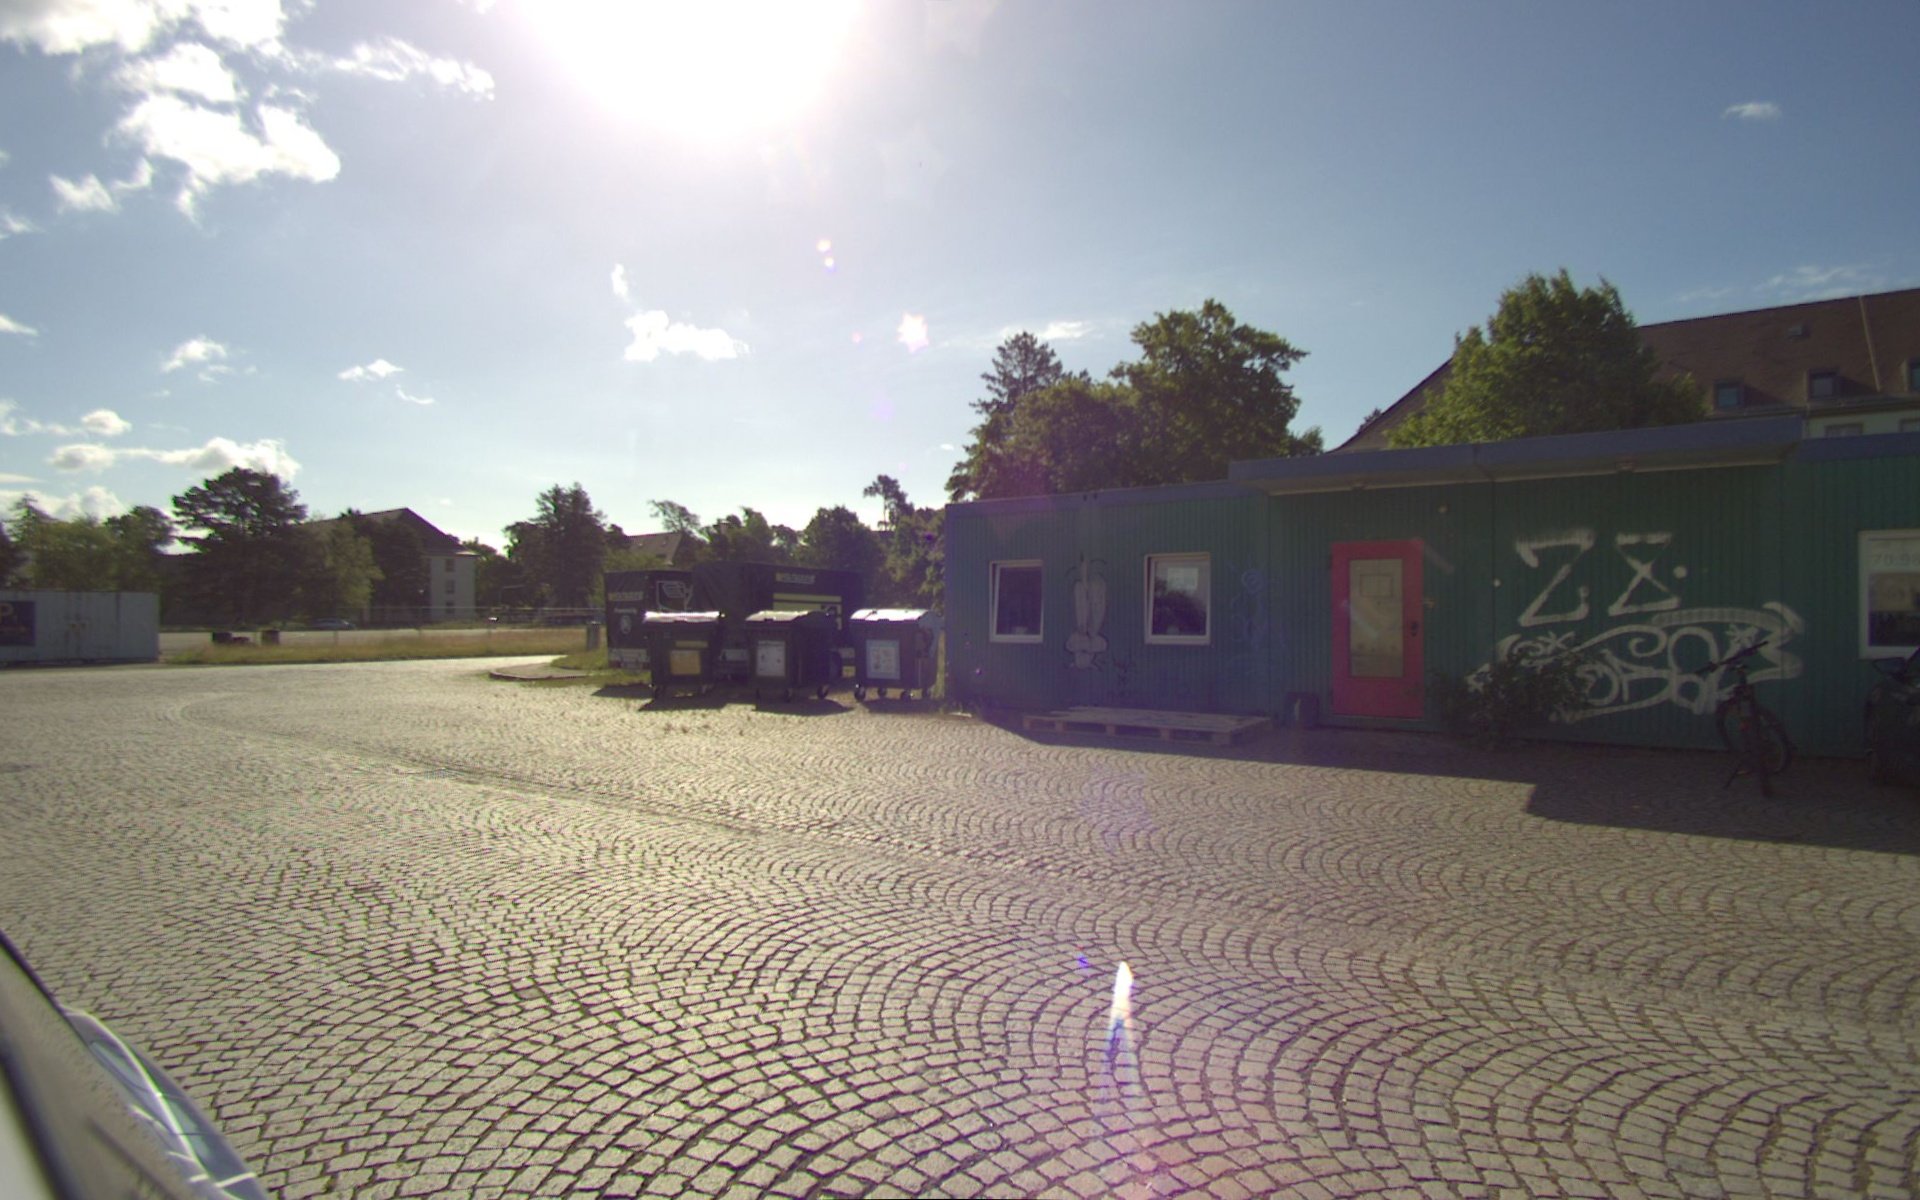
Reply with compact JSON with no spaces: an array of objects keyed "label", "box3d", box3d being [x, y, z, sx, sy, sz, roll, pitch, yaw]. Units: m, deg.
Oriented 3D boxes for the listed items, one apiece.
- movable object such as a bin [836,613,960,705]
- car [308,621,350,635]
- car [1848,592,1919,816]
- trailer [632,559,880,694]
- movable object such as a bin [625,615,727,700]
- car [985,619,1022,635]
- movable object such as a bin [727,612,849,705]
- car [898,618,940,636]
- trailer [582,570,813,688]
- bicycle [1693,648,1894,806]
[{"label":"movable object such as a bin","box3d":[-0.977,0.910,16.262,1.527,1.397,1.374,-1,-1,25]},{"label":"car","box3d":[-77.505,3.439,124.405,1.994,1.594,3.956,-1,-1,32]},{"label":"car","box3d":[7.258,0.677,6.281,1.994,1.475,4.379,-1,-1,33]},{"label":"trailer","box3d":[-3.935,0.517,20.421,2.090,2.372,4.919,-1,-1,33]},{"label":"movable object such as a bin","box3d":[-4.837,0.960,17.399,1.512,1.397,1.388,0,-1,-7]},{"label":"car","box3d":[5.264,3.217,122.395,2.246,1.853,4.290,-1,-1,40]},{"label":"movable object such as a bin","box3d":[-2.809,0.918,16.546,1.534,1.433,1.283,-1,-2,38]},{"label":"car","box3d":[-5.127,3.397,128.192,1.997,2.029,5.959,-3,-1,37]},{"label":"trailer","box3d":[-5.641,0.620,22.286,2.134,2.315,4.611,-1,-2,38]},{"label":"bicycle","box3d":[6.522,0.926,8.049,1.036,1.035,1.859,-1,-2,34]}]
